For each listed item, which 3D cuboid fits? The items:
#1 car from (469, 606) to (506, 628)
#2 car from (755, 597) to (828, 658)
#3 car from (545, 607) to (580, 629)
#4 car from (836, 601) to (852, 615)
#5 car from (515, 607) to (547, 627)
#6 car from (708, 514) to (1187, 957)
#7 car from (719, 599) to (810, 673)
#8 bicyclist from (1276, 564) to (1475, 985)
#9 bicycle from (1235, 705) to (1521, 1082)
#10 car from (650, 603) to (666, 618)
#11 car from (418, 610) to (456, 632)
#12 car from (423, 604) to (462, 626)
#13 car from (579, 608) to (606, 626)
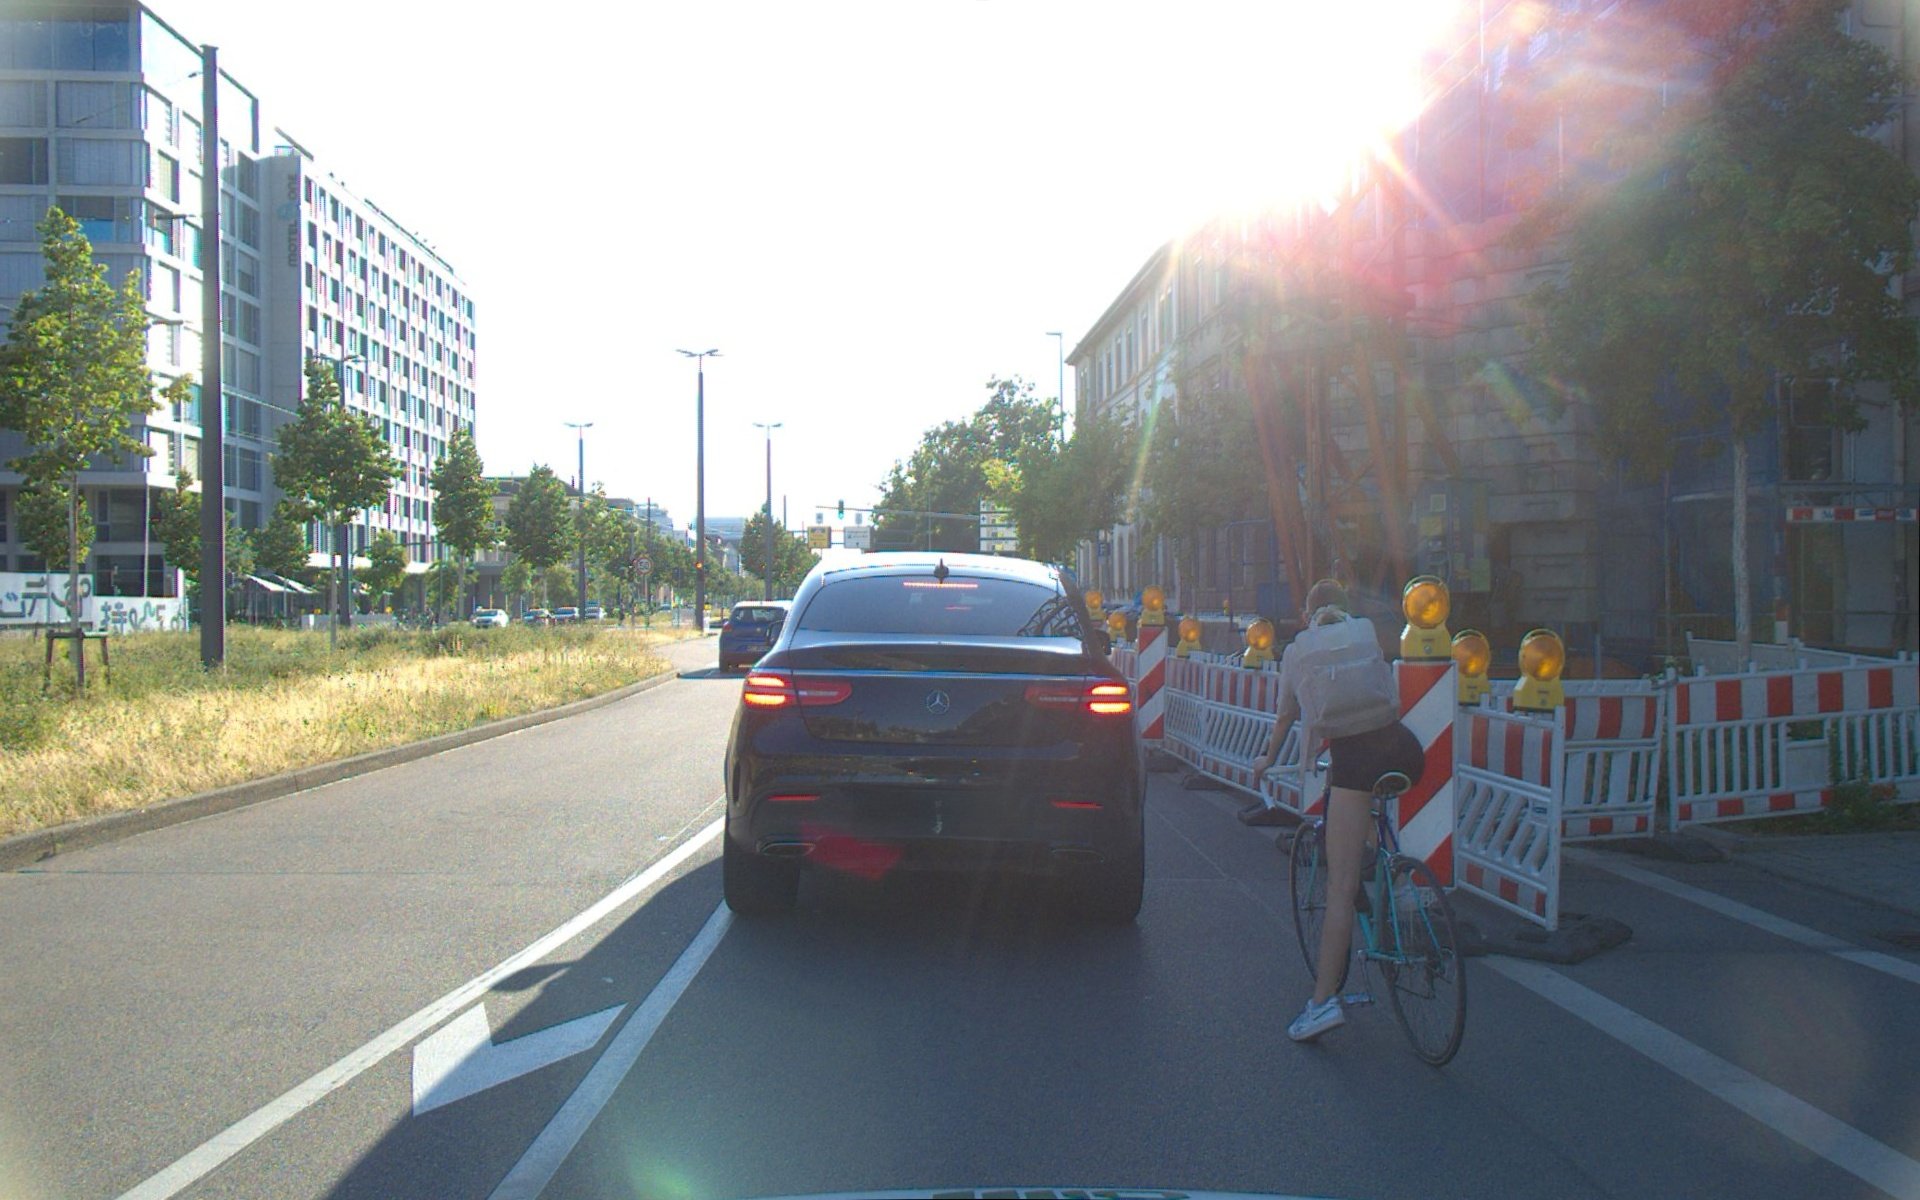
[{"bbox_3d":[-32.812,1.148,114.977,1.674,1.467,3.580,1,0,-3],"label":"car"},{"bbox_3d":[-4.308,0.683,42.657,1.674,1.467,3.580,1,0,-3],"label":"car"},{"bbox_3d":[-27.463,1.236,114.343,1.674,1.467,3.580,1,0,-3],"label":"car"},{"bbox_3d":[-12.863,0.901,184.003,1.674,1.467,3.580,1,0,-3],"label":"car"},{"bbox_3d":[-33.700,1.329,129.964,1.674,1.467,3.580,1,0,-3],"label":"car"},{"bbox_3d":[-0.076,0.570,8.841,1.953,1.803,3.999,1,0,-1],"label":"car"},{"bbox_3d":[-4.117,0.736,35.306,1.674,1.467,3.580,1,0,-3],"label":"car"},{"bbox_3d":[1.469,0.595,5.911,0.512,1.420,0.614,1,-1,-4],"label":"bicyclist"},{"bbox_3d":[1.453,0.974,6.035,0.502,1.070,1.724,1,0,-3],"label":"bicycle"},{"bbox_3d":[-42.416,1.486,232.121,1.959,2.049,3.987,1,0,-13],"label":"car"},{"bbox_3d":[-36.971,1.475,116.989,1.674,1.467,3.580,1,0,-3],"label":"car"},{"bbox_3d":[-35.302,1.016,112.935,1.674,1.467,3.580,1,0,-3],"label":"car"},{"bbox_3d":[-31.406,1.415,141.490,1.674,1.467,3.580,1,0,-3],"label":"car"}]
